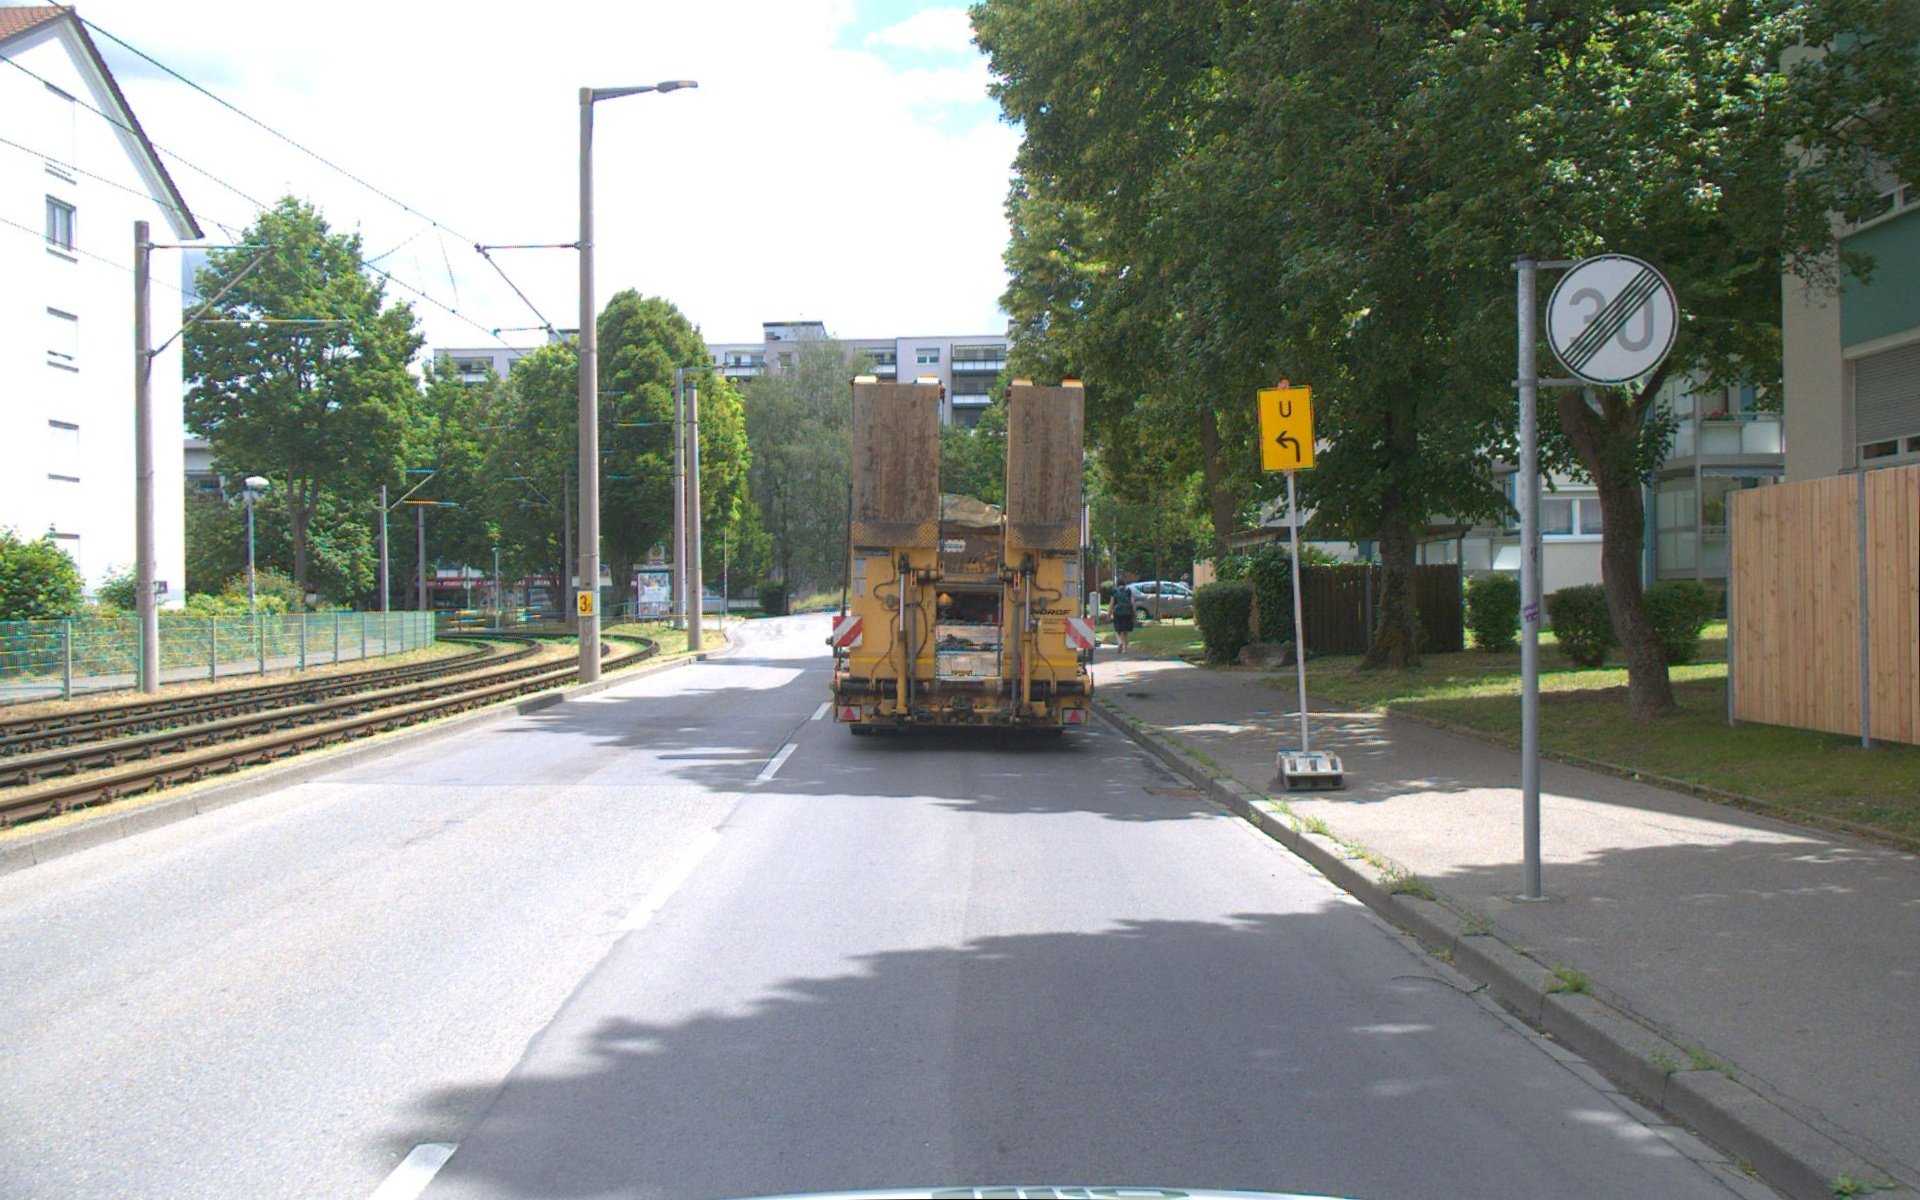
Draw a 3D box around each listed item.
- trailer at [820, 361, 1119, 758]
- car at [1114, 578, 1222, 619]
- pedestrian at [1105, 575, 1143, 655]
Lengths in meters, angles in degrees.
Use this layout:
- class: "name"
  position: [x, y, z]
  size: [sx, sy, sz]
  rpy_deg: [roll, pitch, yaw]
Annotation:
- class: "trailer"
  position: [-0.114, -0.410, 21.744]
  size: [2.770, 3.709, 12.349]
  rpy_deg: [1, 0, -2]
- class: "car"
  position: [8.289, -0.057, 65.967]
  size: [3.918, 1.588, 1.754]
  rpy_deg: [1, 0, -13]
- class: "pedestrian"
  position: [3.634, 0.330, 36.712]
  size: [0.703, 1.736, 0.766]
  rpy_deg: [-2, 1, -1]
